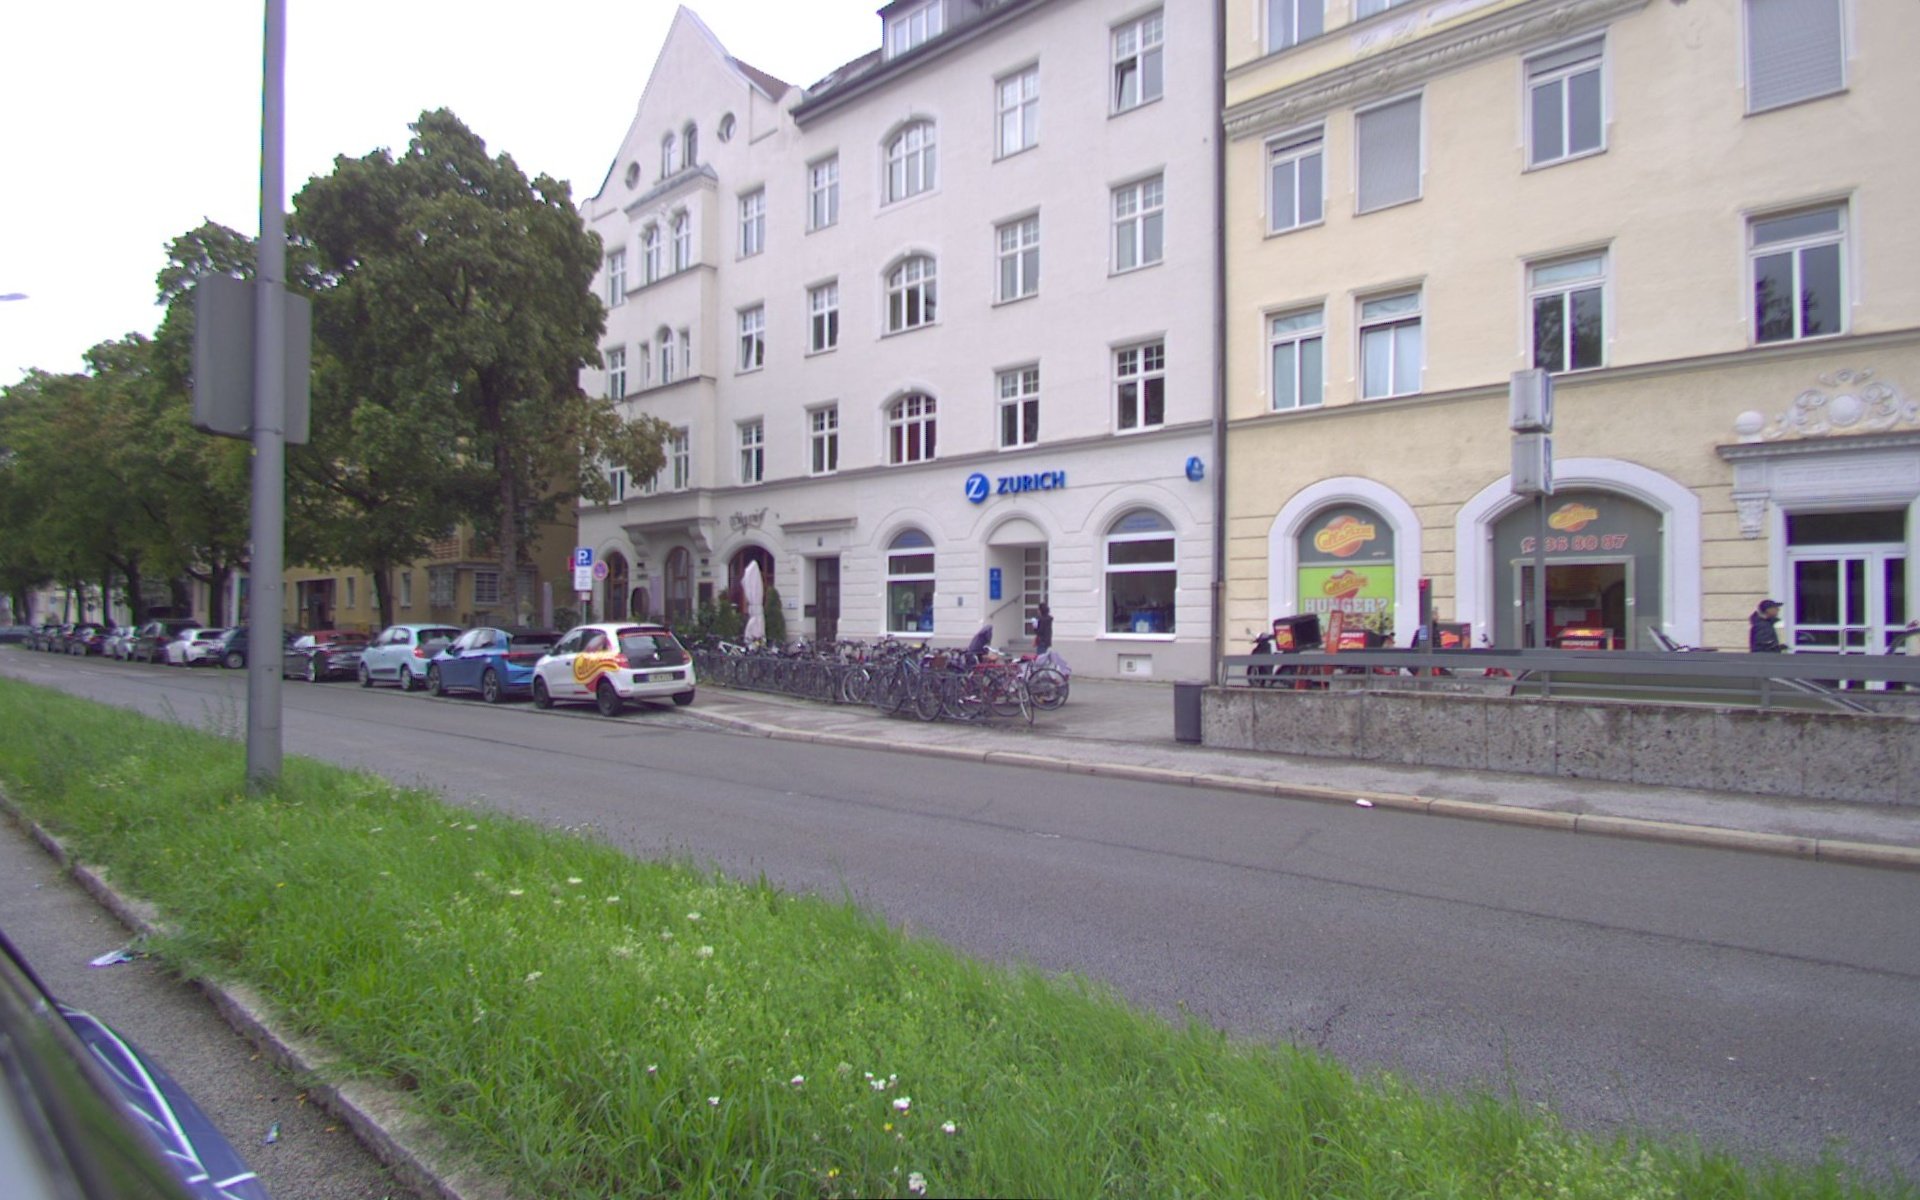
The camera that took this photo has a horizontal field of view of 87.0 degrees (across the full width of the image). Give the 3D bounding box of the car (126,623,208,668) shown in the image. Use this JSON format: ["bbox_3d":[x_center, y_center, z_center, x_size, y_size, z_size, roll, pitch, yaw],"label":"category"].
[{"bbox_3d":[-32.790,1.844,41.807,4.765,1.741,1.791,-2,-2,41],"label":"car"}]

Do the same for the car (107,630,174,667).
[{"bbox_3d":[-36.208,2.123,44.719,3.007,1.569,1.710,-1,-2,39],"label":"car"}]

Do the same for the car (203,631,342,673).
[{"bbox_3d":[-25.037,1.883,36.958,1.730,1.475,3.850,-2,-3,39],"label":"car"}]

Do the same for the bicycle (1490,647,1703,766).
[{"bbox_3d":[6.523,1.063,10.457,1.808,1.124,0.392,-1,-2,33],"label":"bicycle"}]

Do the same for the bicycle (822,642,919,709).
[{"bbox_3d":[-1.553,1.294,17.486,1.667,1.124,0.380,-1,-2,18],"label":"bicycle"}]

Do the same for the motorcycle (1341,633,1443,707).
[{"bbox_3d":[7.290,1.151,17.180,0.600,1.130,1.991,0,-1,-9],"label":"motorcycle"}]

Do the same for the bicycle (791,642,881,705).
[{"bbox_3d":[-2.297,1.349,18.706,1.667,1.124,0.328,-1,-2,18],"label":"bicycle"}]

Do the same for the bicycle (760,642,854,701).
[{"bbox_3d":[-3.000,1.390,19.808,1.859,1.124,0.328,-1,-2,18],"label":"bicycle"}]

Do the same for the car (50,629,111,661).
[{"bbox_3d":[-47.339,2.391,54.439,4.767,1.658,1.859,-1,-2,41],"label":"car"}]

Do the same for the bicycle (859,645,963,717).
[{"bbox_3d":[-0.805,1.294,16.406,1.667,1.124,0.365,-1,-2,18],"label":"bicycle"}]

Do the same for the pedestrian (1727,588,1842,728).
[{"bbox_3d":[10.449,0.723,12.859,0.938,1.710,0.590,-1,-2,18],"label":"pedestrian"}]

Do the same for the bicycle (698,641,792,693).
[{"bbox_3d":[-4.718,1.463,22.219,1.966,1.124,0.503,-1,-2,10],"label":"bicycle"}]

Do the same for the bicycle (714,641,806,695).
[{"bbox_3d":[-4.264,1.440,21.614,1.860,1.124,0.548,-1,-2,10],"label":"bicycle"}]

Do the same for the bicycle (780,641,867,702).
[{"bbox_3d":[-2.598,1.344,19.242,1.667,1.124,0.328,-1,-2,18],"label":"bicycle"}]

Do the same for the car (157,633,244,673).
[{"bbox_3d":[-28.537,1.950,37.977,4.401,1.413,1.708,-2,-2,41],"label":"car"}]

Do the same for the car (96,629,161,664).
[{"bbox_3d":[-39.043,2.149,47.503,4.055,1.573,1.709,-2,-2,41],"label":"car"}]

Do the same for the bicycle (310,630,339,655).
[{"bbox_3d":[-33.200,2.208,52.871,1.929,1.231,0.762,-2,-2,41],"label":"bicycle"}]

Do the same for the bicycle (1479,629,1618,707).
[{"bbox_3d":[7.890,0.886,13.605,1.544,0.988,0.468,-2,-2,41],"label":"bicycle"}]

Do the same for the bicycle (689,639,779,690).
[{"bbox_3d":[-5.077,1.451,22.747,1.944,1.124,0.457,-1,-2,10],"label":"bicycle"}]

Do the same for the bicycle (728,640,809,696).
[{"bbox_3d":[-3.971,1.400,20.998,1.664,1.124,0.329,-1,-2,14],"label":"bicycle"}]

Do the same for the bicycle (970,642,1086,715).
[{"bbox_3d":[1.084,1.230,16.141,1.799,1.124,0.394,-1,-2,18],"label":"bicycle"}]

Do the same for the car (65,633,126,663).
[{"bbox_3d":[-43.167,2.364,50.488,4.361,1.416,1.709,-1,-2,41],"label":"car"}]

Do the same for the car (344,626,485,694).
[{"bbox_3d":[-13.503,1.423,24.984,3.958,1.518,1.792,-2,-2,41],"label":"car"}]

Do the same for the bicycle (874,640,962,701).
[{"bbox_3d":[-0.801,1.314,19.159,1.667,1.124,0.328,-1,-2,18],"label":"bicycle"}]

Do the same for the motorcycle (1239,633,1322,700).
[{"bbox_3d":[5.886,1.194,18.704,0.600,1.139,1.991,0,-1,-9],"label":"motorcycle"}]

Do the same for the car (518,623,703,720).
[{"bbox_3d":[-6.460,1.226,18.531,3.790,1.597,1.631,-2,-2,43],"label":"car"}]

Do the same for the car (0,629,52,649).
[{"bbox_3d":[-70.267,2.892,75.066,3.930,1.386,1.868,0,-2,-23],"label":"car"}]

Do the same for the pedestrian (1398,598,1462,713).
[{"bbox_3d":[7.224,0.836,15.559,0.769,1.710,0.537,-2,-2,39],"label":"pedestrian"}]

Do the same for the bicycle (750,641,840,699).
[{"bbox_3d":[-3.320,1.392,20.326,1.859,1.124,0.328,-1,-2,18],"label":"bicycle"}]

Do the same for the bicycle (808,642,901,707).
[{"bbox_3d":[-1.891,1.313,18.084,1.667,1.124,0.328,-1,-2,18],"label":"bicycle"}]

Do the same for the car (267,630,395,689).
[{"bbox_3d":[-17.833,1.605,28.615,4.643,1.518,1.792,-1,-2,41],"label":"car"}]

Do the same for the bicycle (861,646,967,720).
[{"bbox_3d":[-0.731,1.288,15.960,1.667,1.124,0.328,-1,-2,18],"label":"bicycle"}]

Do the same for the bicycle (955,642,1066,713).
[{"bbox_3d":[0.827,1.265,16.695,1.799,1.124,0.394,-1,-2,18],"label":"bicycle"}]

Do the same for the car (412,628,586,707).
[{"bbox_3d":[-9.945,1.372,21.690,4.289,1.518,1.792,-1,-2,41],"label":"car"}]

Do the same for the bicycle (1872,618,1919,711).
[{"bbox_3d":[10.663,0.682,10.654,1.544,0.988,0.468,-2,-2,41],"label":"bicycle"}]

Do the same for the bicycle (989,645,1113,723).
[{"bbox_3d":[1.350,1.231,15.105,1.799,1.124,0.394,-1,-2,18],"label":"bicycle"}]

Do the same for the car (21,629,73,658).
[{"bbox_3d":[-55.755,2.607,61.761,4.436,1.700,1.854,-2,-2,41],"label":"car"}]

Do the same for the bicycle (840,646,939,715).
[{"bbox_3d":[-1.187,1.335,16.980,1.667,1.124,0.328,-1,-2,18],"label":"bicycle"}]

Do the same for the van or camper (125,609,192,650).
[{"bbox_3d":[-54.012,1.978,68.159,6.847,2.599,2.321,-2,-2,41],"label":"van or camper"}]

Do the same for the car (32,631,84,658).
[{"bbox_3d":[-51.946,2.532,58.237,4.490,1.465,1.674,-1,-2,41],"label":"car"}]

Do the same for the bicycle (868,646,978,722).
[{"bbox_3d":[-0.573,1.265,15.496,1.667,1.124,0.366,-1,-2,18],"label":"bicycle"}]

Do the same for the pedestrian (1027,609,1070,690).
[{"bbox_3d":[1.824,1.017,20.912,0.416,1.644,0.784,1,-2,-43],"label":"pedestrian"}]

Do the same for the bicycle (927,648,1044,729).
[{"bbox_3d":[0.368,1.263,14.678,1.667,1.124,0.328,-1,-2,18],"label":"bicycle"}]
